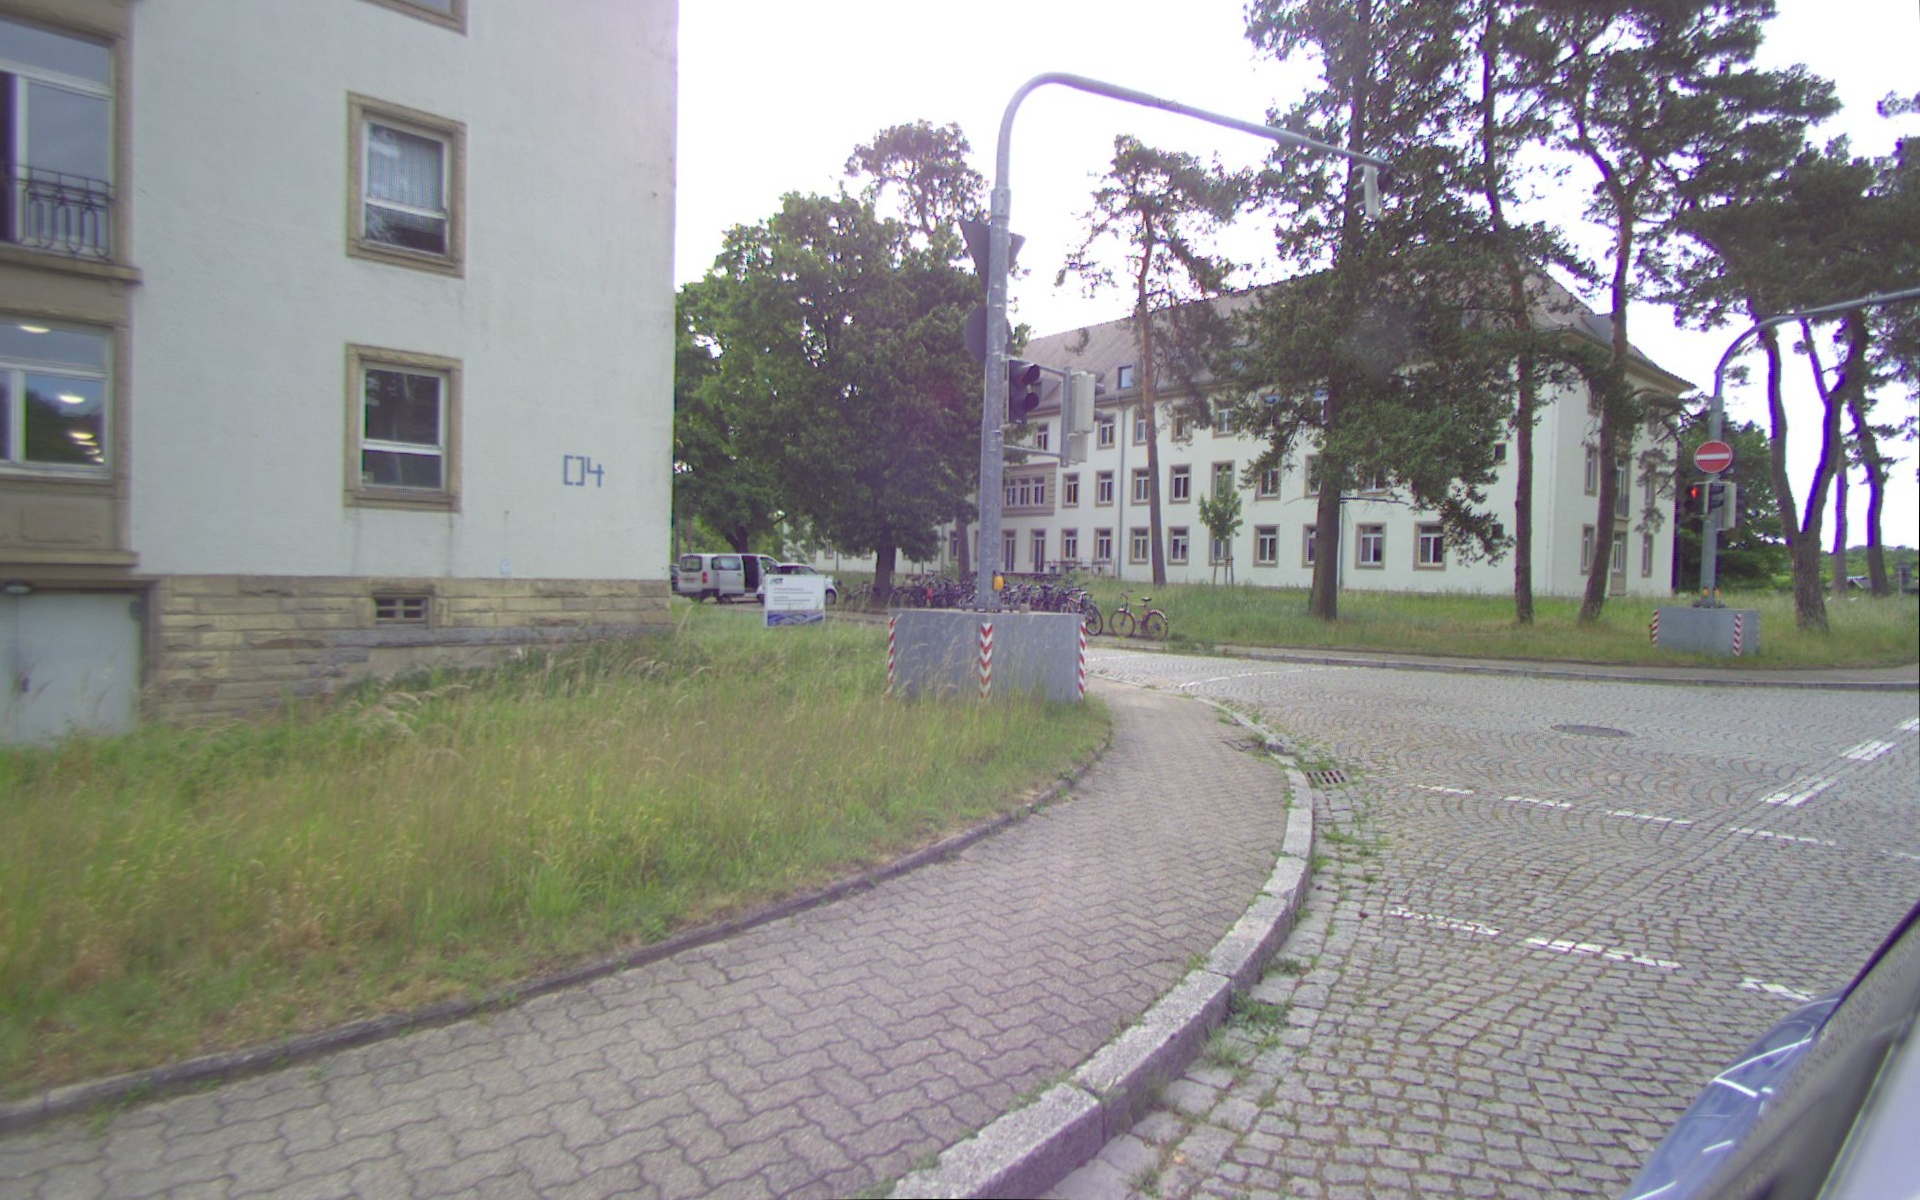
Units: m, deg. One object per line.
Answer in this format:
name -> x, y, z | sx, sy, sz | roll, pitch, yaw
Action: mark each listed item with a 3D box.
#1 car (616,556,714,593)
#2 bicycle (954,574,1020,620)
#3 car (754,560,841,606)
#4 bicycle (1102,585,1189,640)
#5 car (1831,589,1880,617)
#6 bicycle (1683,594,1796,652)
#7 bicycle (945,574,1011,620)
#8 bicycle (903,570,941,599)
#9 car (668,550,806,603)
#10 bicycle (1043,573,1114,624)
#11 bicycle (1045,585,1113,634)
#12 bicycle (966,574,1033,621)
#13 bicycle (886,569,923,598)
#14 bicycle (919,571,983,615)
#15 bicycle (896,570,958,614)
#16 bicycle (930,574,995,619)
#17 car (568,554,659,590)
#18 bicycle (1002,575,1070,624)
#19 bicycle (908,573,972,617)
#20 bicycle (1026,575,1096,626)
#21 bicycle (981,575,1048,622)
car -> -13.500, -1.147, 46.433 | 3.969, 1.641, 1.681 | 0, 2, -37
bicycle -> 0.790, -0.072, 28.782 | 1.954, 1.263, 0.623 | 1, 1, -41
car -> -5.994, -0.639, 37.484 | 2.806, 1.577, 1.471 | -1, 4, -40
bicycle -> 4.106, 0.263, 22.527 | 0.612, 1.127, 1.989 | 2, 1, -36
car -> 49.725, 0.155, 56.167 | 3.137, 1.455, 1.487 | 1, 1, -38
bicycle -> 15.594, 0.436, 20.284 | 0.571, 0.981, 1.678 | -2, 5, -35
bicycle -> 0.522, -0.084, 29.019 | 1.954, 1.263, 0.623 | 1, 1, -41
bicycle -> -1.493, -0.613, 39.820 | 1.525, 1.138, 0.401 | 0, 1, -38
car -> -8.661, -0.949, 39.779 | 2.137, 1.939, 5.254 | 2, 3, 36
bicycle -> 3.063, -0.035, 26.029 | 1.954, 1.263, 0.623 | 1, 1, -41
bicycle -> 2.810, 0.214, 23.989 | 0.612, 1.096, 1.678 | 2, 1, -35
bicycle -> 1.113, -0.055, 28.368 | 1.954, 1.263, 0.623 | 1, 1, -41
bicycle -> -2.218, -0.655, 40.816 | 1.525, 1.138, 0.401 | 0, 1, -38
bicycle -> -0.251, -0.204, 29.982 | 1.954, 1.263, 0.623 | 1, 1, -41
bicycle -> -0.998, -0.258, 30.858 | 1.955, 1.263, 0.623 | -2, 3, -41
bicycle -> 0.091, -0.107, 29.601 | 1.954, 1.263, 0.623 | 1, 1, -41
car -> -17.303, -1.371, 50.630 | 3.974, 1.739, 1.679 | 0, 2, -41
bicycle -> 2.059, -0.006, 27.217 | 1.954, 1.263, 0.623 | 1, 1, -41
bicycle -> -0.580, -0.141, 30.351 | 1.954, 1.263, 0.623 | 1, 1, -41
bicycle -> 2.660, 0.024, 26.513 | 1.954, 1.263, 0.623 | 1, 1, -41
bicycle -> 1.511, -0.034, 27.878 | 1.954, 1.263, 0.623 | 1, 1, -41
